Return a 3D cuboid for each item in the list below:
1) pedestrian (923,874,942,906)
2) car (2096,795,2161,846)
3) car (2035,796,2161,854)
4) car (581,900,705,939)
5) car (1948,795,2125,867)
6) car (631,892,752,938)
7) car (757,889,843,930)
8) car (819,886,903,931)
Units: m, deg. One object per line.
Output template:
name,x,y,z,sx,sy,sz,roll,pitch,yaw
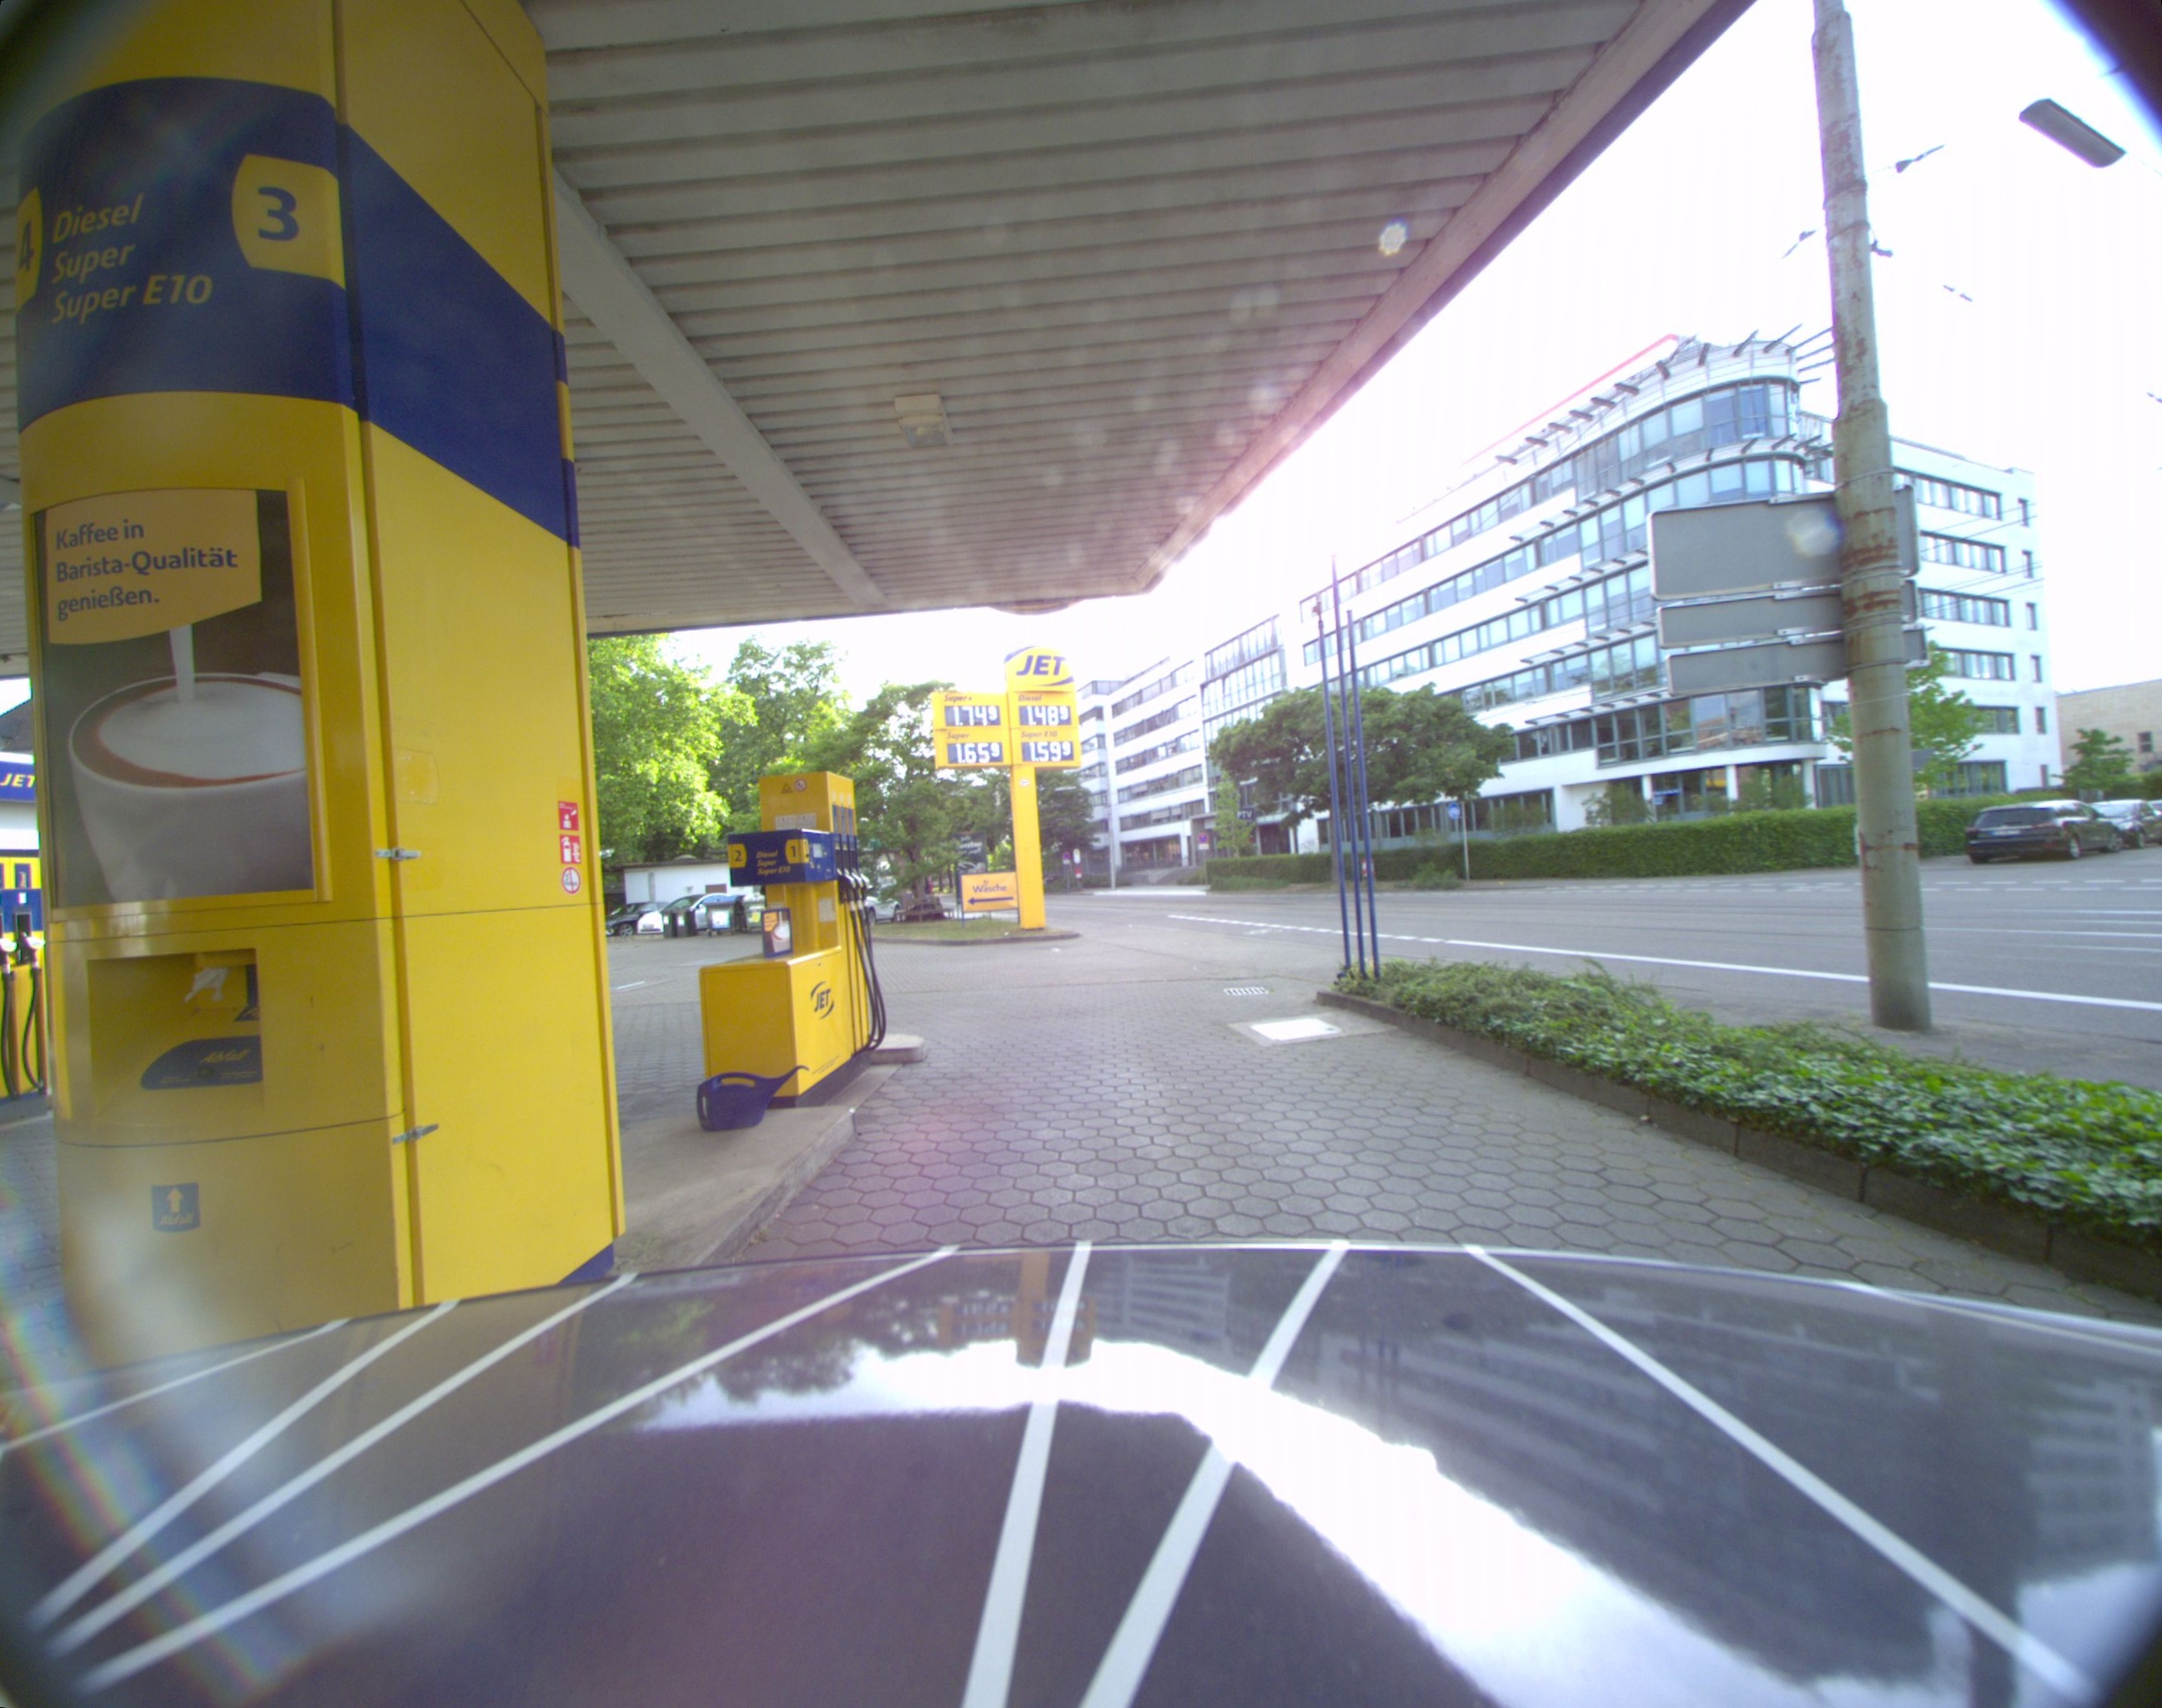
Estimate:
pedestrian,-9.639,2.336,49.299,0.934,2.001,1.214,-2,-1,-24
car,37.144,-1.234,26.069,4.109,1.544,1.786,-4,-1,-23
car,32.484,-0.940,24.031,4.109,1.544,1.786,-4,-1,-23
car,-17.753,2.629,31.060,1.745,1.269,4.230,-5,-3,19
car,27.369,-0.648,21.760,4.438,1.603,1.976,-5,-1,-23
car,-15.367,2.381,30.244,1.785,1.514,4.229,-4,-3,17
car,-11.809,2.320,32.232,1.739,1.500,4.004,-4,-2,6
car,-8.693,2.114,30.371,1.739,1.500,4.003,-4,-2,6
